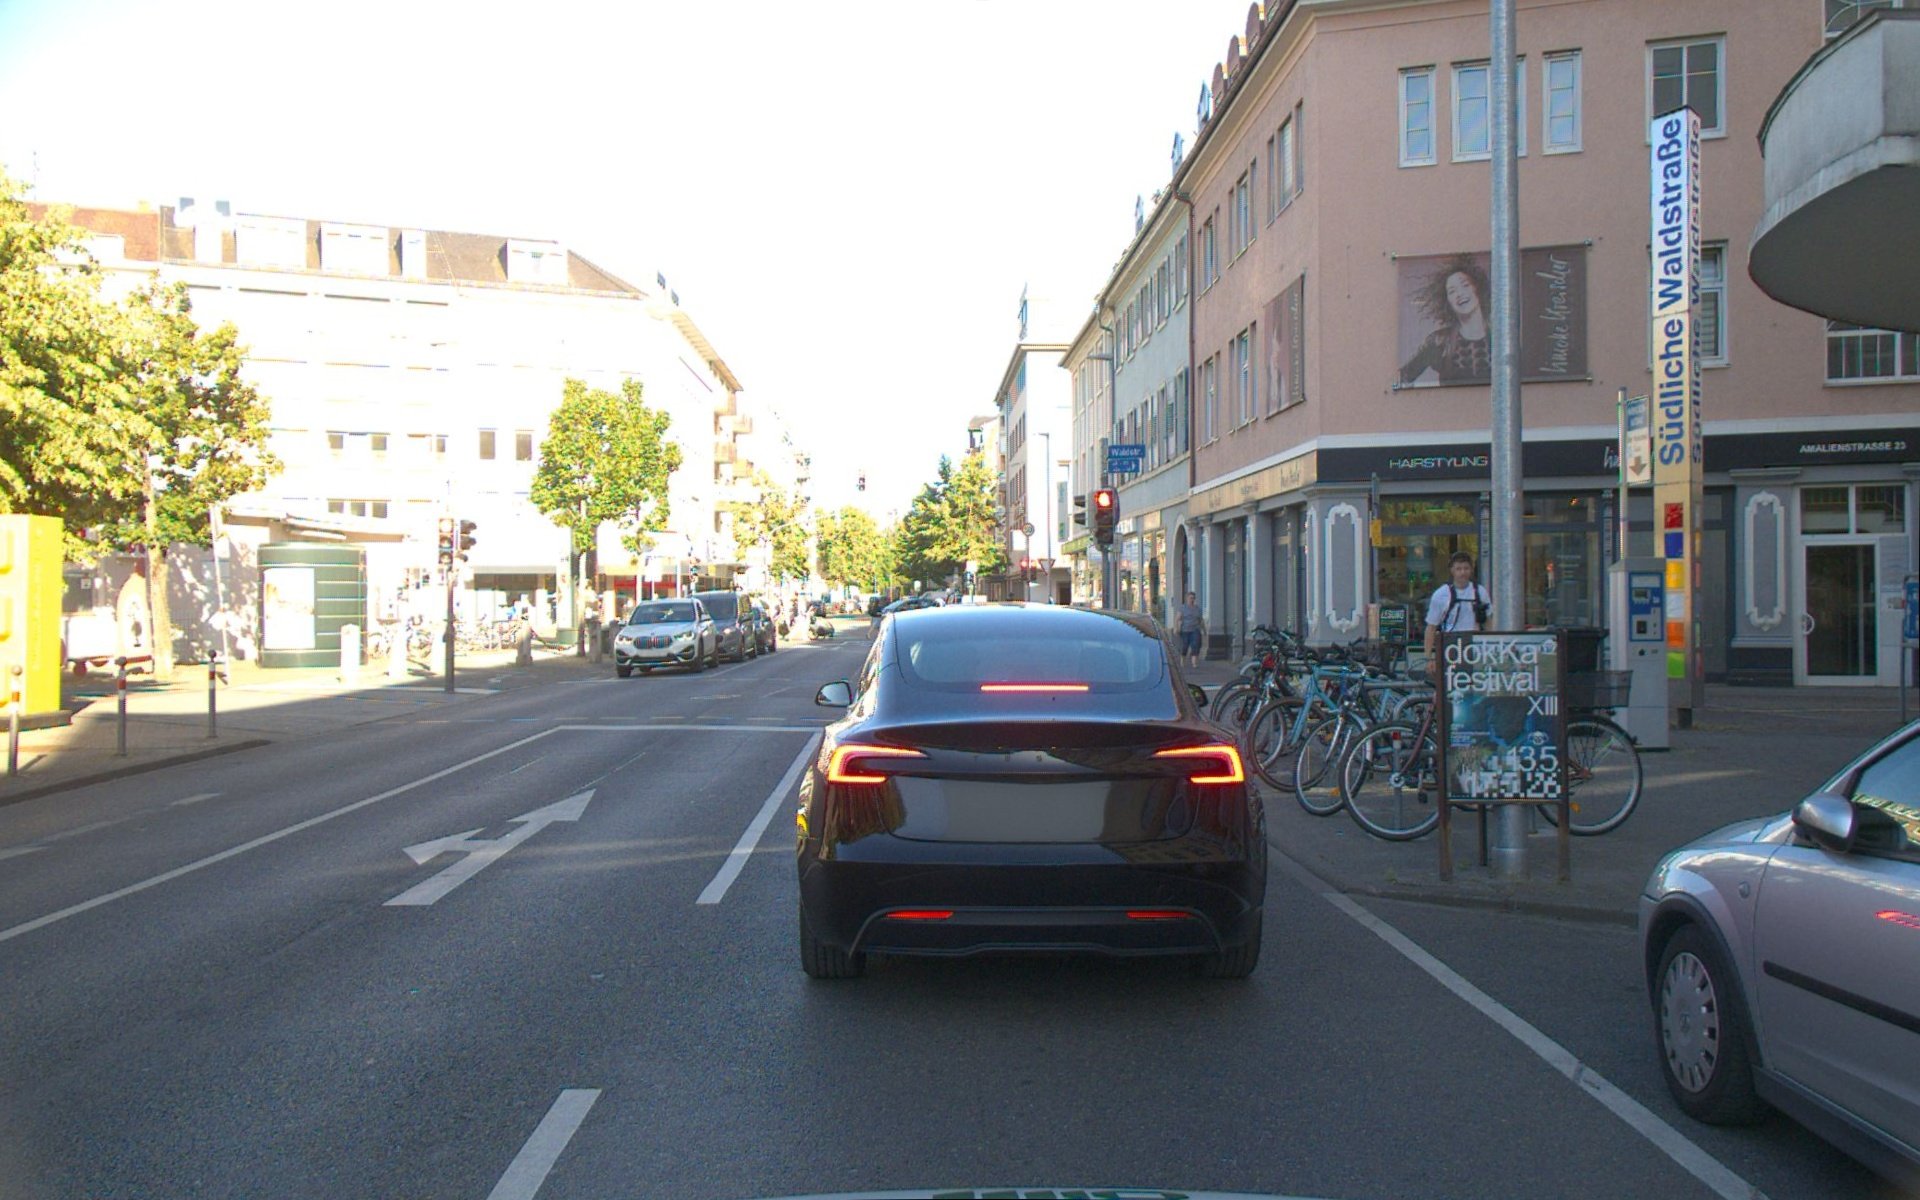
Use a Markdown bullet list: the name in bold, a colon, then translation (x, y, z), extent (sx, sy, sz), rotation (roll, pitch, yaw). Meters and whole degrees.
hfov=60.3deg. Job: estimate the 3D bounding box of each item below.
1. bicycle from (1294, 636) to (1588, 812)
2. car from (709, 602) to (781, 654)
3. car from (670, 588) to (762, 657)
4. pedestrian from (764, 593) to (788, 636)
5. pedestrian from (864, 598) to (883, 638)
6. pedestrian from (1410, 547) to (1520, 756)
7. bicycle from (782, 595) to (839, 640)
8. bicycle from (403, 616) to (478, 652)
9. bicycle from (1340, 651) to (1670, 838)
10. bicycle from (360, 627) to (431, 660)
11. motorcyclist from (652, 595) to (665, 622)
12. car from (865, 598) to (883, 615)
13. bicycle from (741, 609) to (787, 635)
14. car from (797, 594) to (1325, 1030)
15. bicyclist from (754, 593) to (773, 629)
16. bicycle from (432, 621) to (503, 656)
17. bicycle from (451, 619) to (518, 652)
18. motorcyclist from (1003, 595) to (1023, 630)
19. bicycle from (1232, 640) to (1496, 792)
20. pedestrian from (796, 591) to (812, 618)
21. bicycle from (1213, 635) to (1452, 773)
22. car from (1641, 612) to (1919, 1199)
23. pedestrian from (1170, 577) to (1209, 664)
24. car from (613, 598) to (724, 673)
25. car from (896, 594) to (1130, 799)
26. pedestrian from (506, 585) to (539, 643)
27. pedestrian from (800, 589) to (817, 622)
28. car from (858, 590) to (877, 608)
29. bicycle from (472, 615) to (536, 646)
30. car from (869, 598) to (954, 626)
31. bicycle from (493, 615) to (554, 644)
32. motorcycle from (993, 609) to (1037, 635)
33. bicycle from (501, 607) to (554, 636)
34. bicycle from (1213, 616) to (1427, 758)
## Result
- **bicycle**: translation (3.239, 0.830, 11.210), extent (1.834, 1.106, 0.414), rotation (-2, -1, 3)
- **car**: translation (-6.444, 0.815, 49.873), extent (1.680, 1.471, 3.844), rotation (1, 0, -1)
- **car**: translation (-6.188, 0.550, 42.376), extent (1.751, 1.675, 4.401), rotation (0, 0, -1)
- **pedestrian**: translation (-7.219, 0.553, 64.877), extent (0.742, 1.660, 0.951), rotation (1, -1, -18)
- **pedestrian**: translation (-3.415, 0.697, 65.421), extent (0.612, 1.565, 0.511), rotation (1, -1, -19)
- **pedestrian**: translation (4.474, 0.445, 14.699), extent (0.735, 1.796, 0.837), rotation (1, -1, 3)
- **bicycle**: translation (-5.715, 0.677, 63.288), extent (2.068, 1.694, 0.666), rotation (1, -1, -17)
- **bicycle**: translation (-14.088, 0.920, 44.888), extent (1.826, 0.950, 0.606), rotation (0, 0, -2)
- **bicycle**: translation (3.270, 0.867, 10.013), extent (1.833, 1.056, 0.353), rotation (-2, -1, 6)
- **bicycle**: translation (-14.456, 1.112, 42.392), extent (1.612, 0.806, 0.606), rotation (1, 0, -5)
- **motorcyclist**: translation (-14.458, 0.406, 79.381), extent (0.486, 1.275, 0.350), rotation (-1, 1, -38)
- **car**: translation (-8.508, 0.637, 164.327), extent (1.716, 1.718, 3.830), rotation (1, 0, -3)
- **bicycle**: translation (-7.841, 0.868, 66.277), extent (1.756, 1.024, 0.469), rotation (1, -1, -17)
- **car**: translation (0.317, 0.724, 7.596), extent (1.785, 1.467, 3.999), rotation (0, 0, -1)
- **bicyclist**: translation (-7.883, 0.430, 66.256), extent (0.659, 1.420, 0.460), rotation (1, -1, -17)
- **bicycle**: translation (-14.018, 1.088, 47.130), extent (1.826, 0.950, 0.606), rotation (1, 0, -2)
- **bicycle**: translation (-14.255, 1.049, 49.601), extent (1.826, 0.950, 0.606), rotation (1, 0, -2)
- **motorcyclist**: translation (2.335, 0.550, 72.768), extent (0.709, 1.555, 0.512), rotation (0, 0, -23)
- **bicycle**: translation (3.019, 0.866, 12.462), extent (1.834, 1.056, 0.533), rotation (-2, -1, 3)
- **pedestrian**: translation (-8.475, 0.253, 89.995), extent (0.666, 1.418, 0.583), rotation (1, -1, -36)
- **bicycle**: translation (3.053, 0.852, 13.662), extent (1.833, 1.056, 0.548), rotation (-2, -1, 5)
- **car**: translation (2.911, 0.782, 3.489), extent (1.515, 1.414, 3.477), rotation (0, 1, 0)
- **pedestrian**: translation (4.775, 0.427, 34.452), extent (0.692, 1.773, 0.540), rotation (1, -1, -1)
- **car**: translation (-6.291, 0.743, 36.090), extent (1.752, 1.485, 3.756), rotation (-2, 0, -1)
- **car**: translation (0.309, 0.689, 13.772), extent (1.683, 1.450, 3.755), rotation (0, 0, -2)
- **pedestrian**: translation (-15.614, 0.495, 58.999), extent (1.041, 2.049, 1.049), rotation (1, -1, -20)
- **pedestrian**: translation (-8.300, 0.293, 90.744), extent (0.666, 1.820, 0.703), rotation (1, -1, -36)
- **car**: translation (-10.420, -0.093, 186.979), extent (1.953, 2.049, 3.999), rotation (0, 0, -1)
- **bicycle**: translation (-14.334, 0.963, 52.012), extent (1.826, 0.950, 0.606), rotation (0, 0, -2)
- **car**: translation (-2.469, 0.586, 83.775), extent (3.932, 1.378, 1.896), rotation (0, 0, -23)
- **bicycle**: translation (-14.369, 0.972, 54.460), extent (1.826, 0.950, 0.606), rotation (0, 0, -2)
- **motorcycle**: translation (2.418, 0.957, 72.805), extent (1.901, 1.130, 0.515), rotation (0, 0, -24)
- **bicycle**: translation (-20.275, 1.024, 77.518), extent (2.334, 1.318, 0.509), rotation (1, -1, -27)
- **bicycle**: translation (3.196, 0.769, 14.784), extent (1.789, 1.189, 0.506), rotation (-2, -1, 5)
